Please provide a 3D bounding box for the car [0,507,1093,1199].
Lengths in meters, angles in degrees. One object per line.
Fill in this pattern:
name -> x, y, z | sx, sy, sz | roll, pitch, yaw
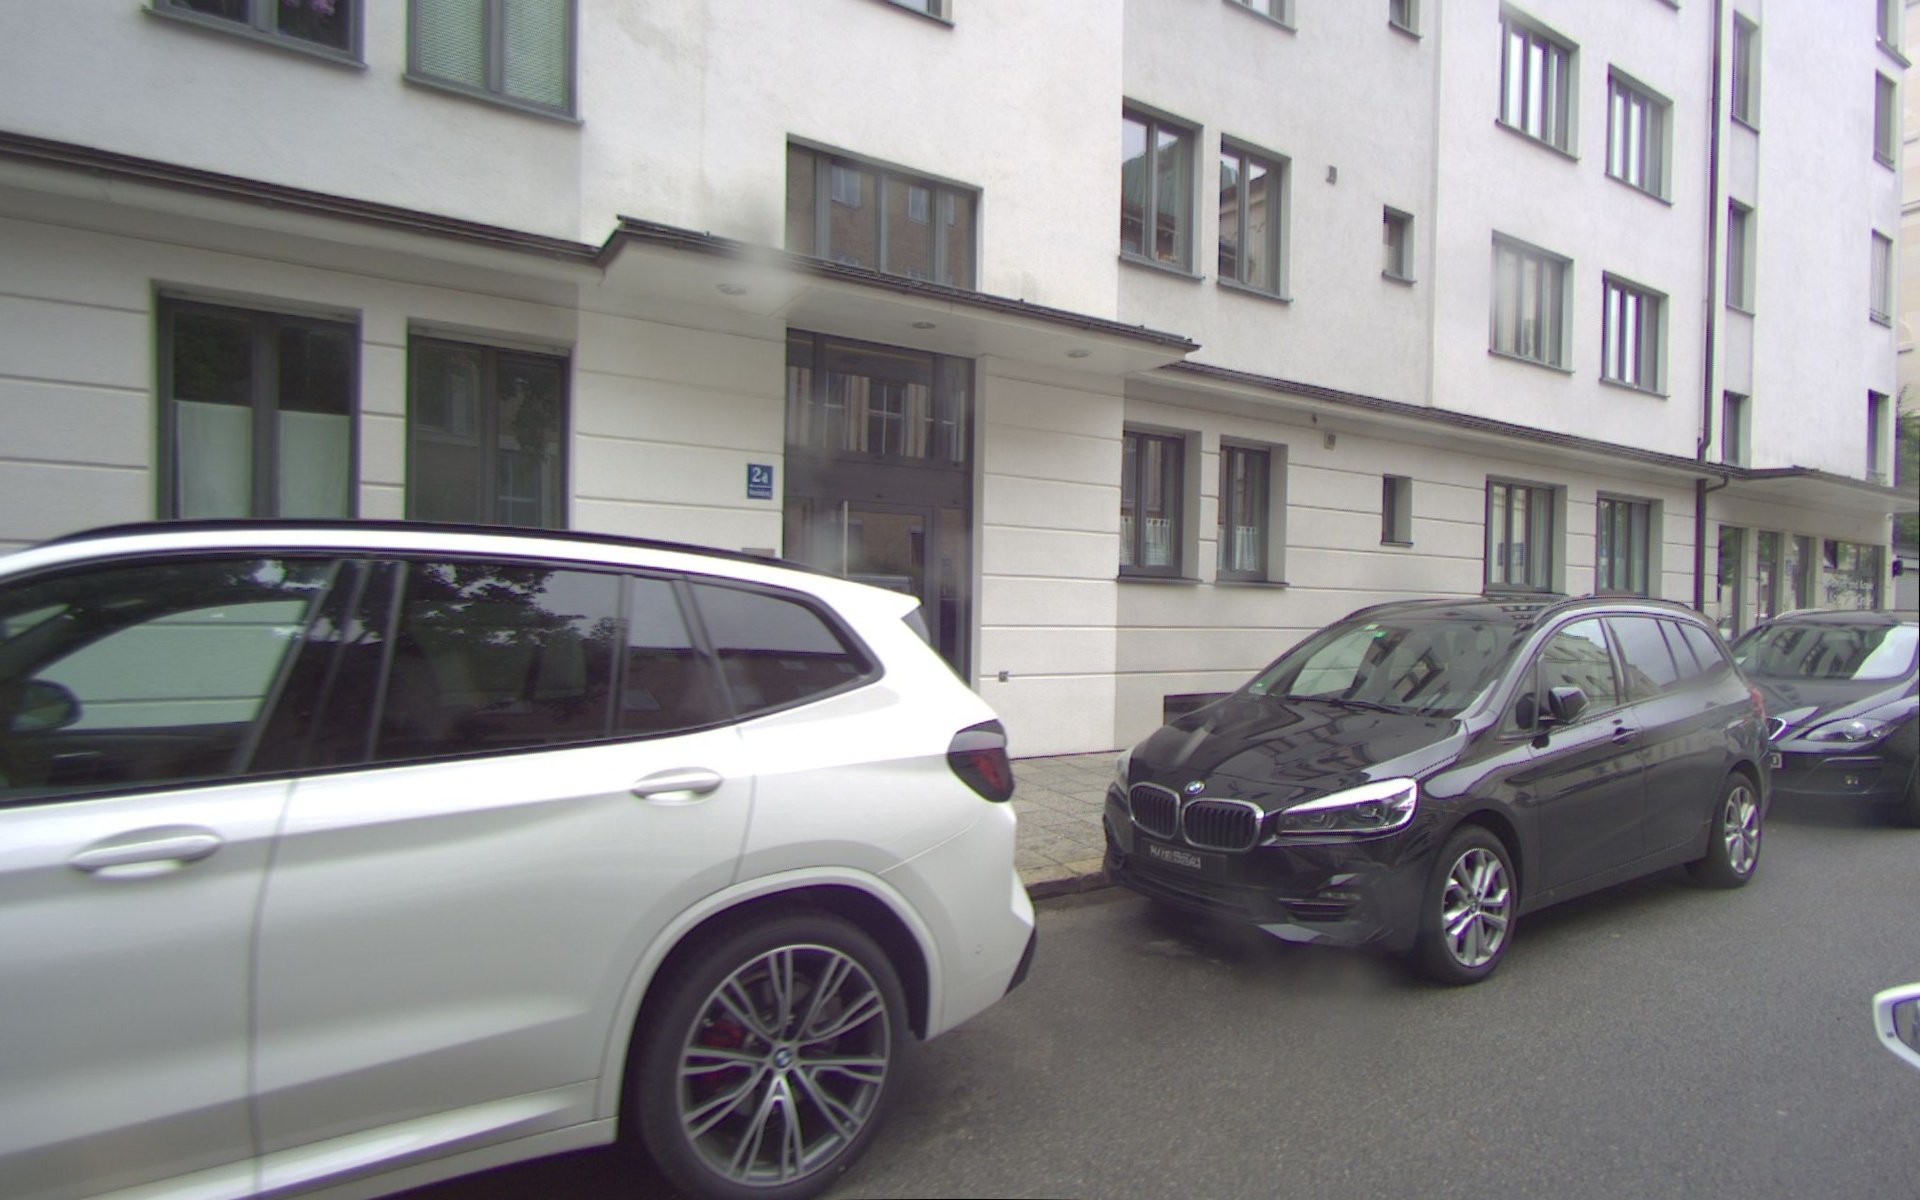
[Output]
car -> -2.023, 0.704, 2.553 | 4.538, 1.680, 1.863 | 0, -1, -32

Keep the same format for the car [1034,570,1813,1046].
car -> 2.775, 0.754, 5.606 | 4.542, 1.680, 1.861 | 0, -1, -34

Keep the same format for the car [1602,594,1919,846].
car -> 7.510, 0.816, 8.544 | 4.033, 1.680, 1.863 | 0, -1, -31

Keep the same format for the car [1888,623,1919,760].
car -> 12.365, 0.969, 11.195 | 3.964, 1.473, 1.744 | 0, -1, -28
